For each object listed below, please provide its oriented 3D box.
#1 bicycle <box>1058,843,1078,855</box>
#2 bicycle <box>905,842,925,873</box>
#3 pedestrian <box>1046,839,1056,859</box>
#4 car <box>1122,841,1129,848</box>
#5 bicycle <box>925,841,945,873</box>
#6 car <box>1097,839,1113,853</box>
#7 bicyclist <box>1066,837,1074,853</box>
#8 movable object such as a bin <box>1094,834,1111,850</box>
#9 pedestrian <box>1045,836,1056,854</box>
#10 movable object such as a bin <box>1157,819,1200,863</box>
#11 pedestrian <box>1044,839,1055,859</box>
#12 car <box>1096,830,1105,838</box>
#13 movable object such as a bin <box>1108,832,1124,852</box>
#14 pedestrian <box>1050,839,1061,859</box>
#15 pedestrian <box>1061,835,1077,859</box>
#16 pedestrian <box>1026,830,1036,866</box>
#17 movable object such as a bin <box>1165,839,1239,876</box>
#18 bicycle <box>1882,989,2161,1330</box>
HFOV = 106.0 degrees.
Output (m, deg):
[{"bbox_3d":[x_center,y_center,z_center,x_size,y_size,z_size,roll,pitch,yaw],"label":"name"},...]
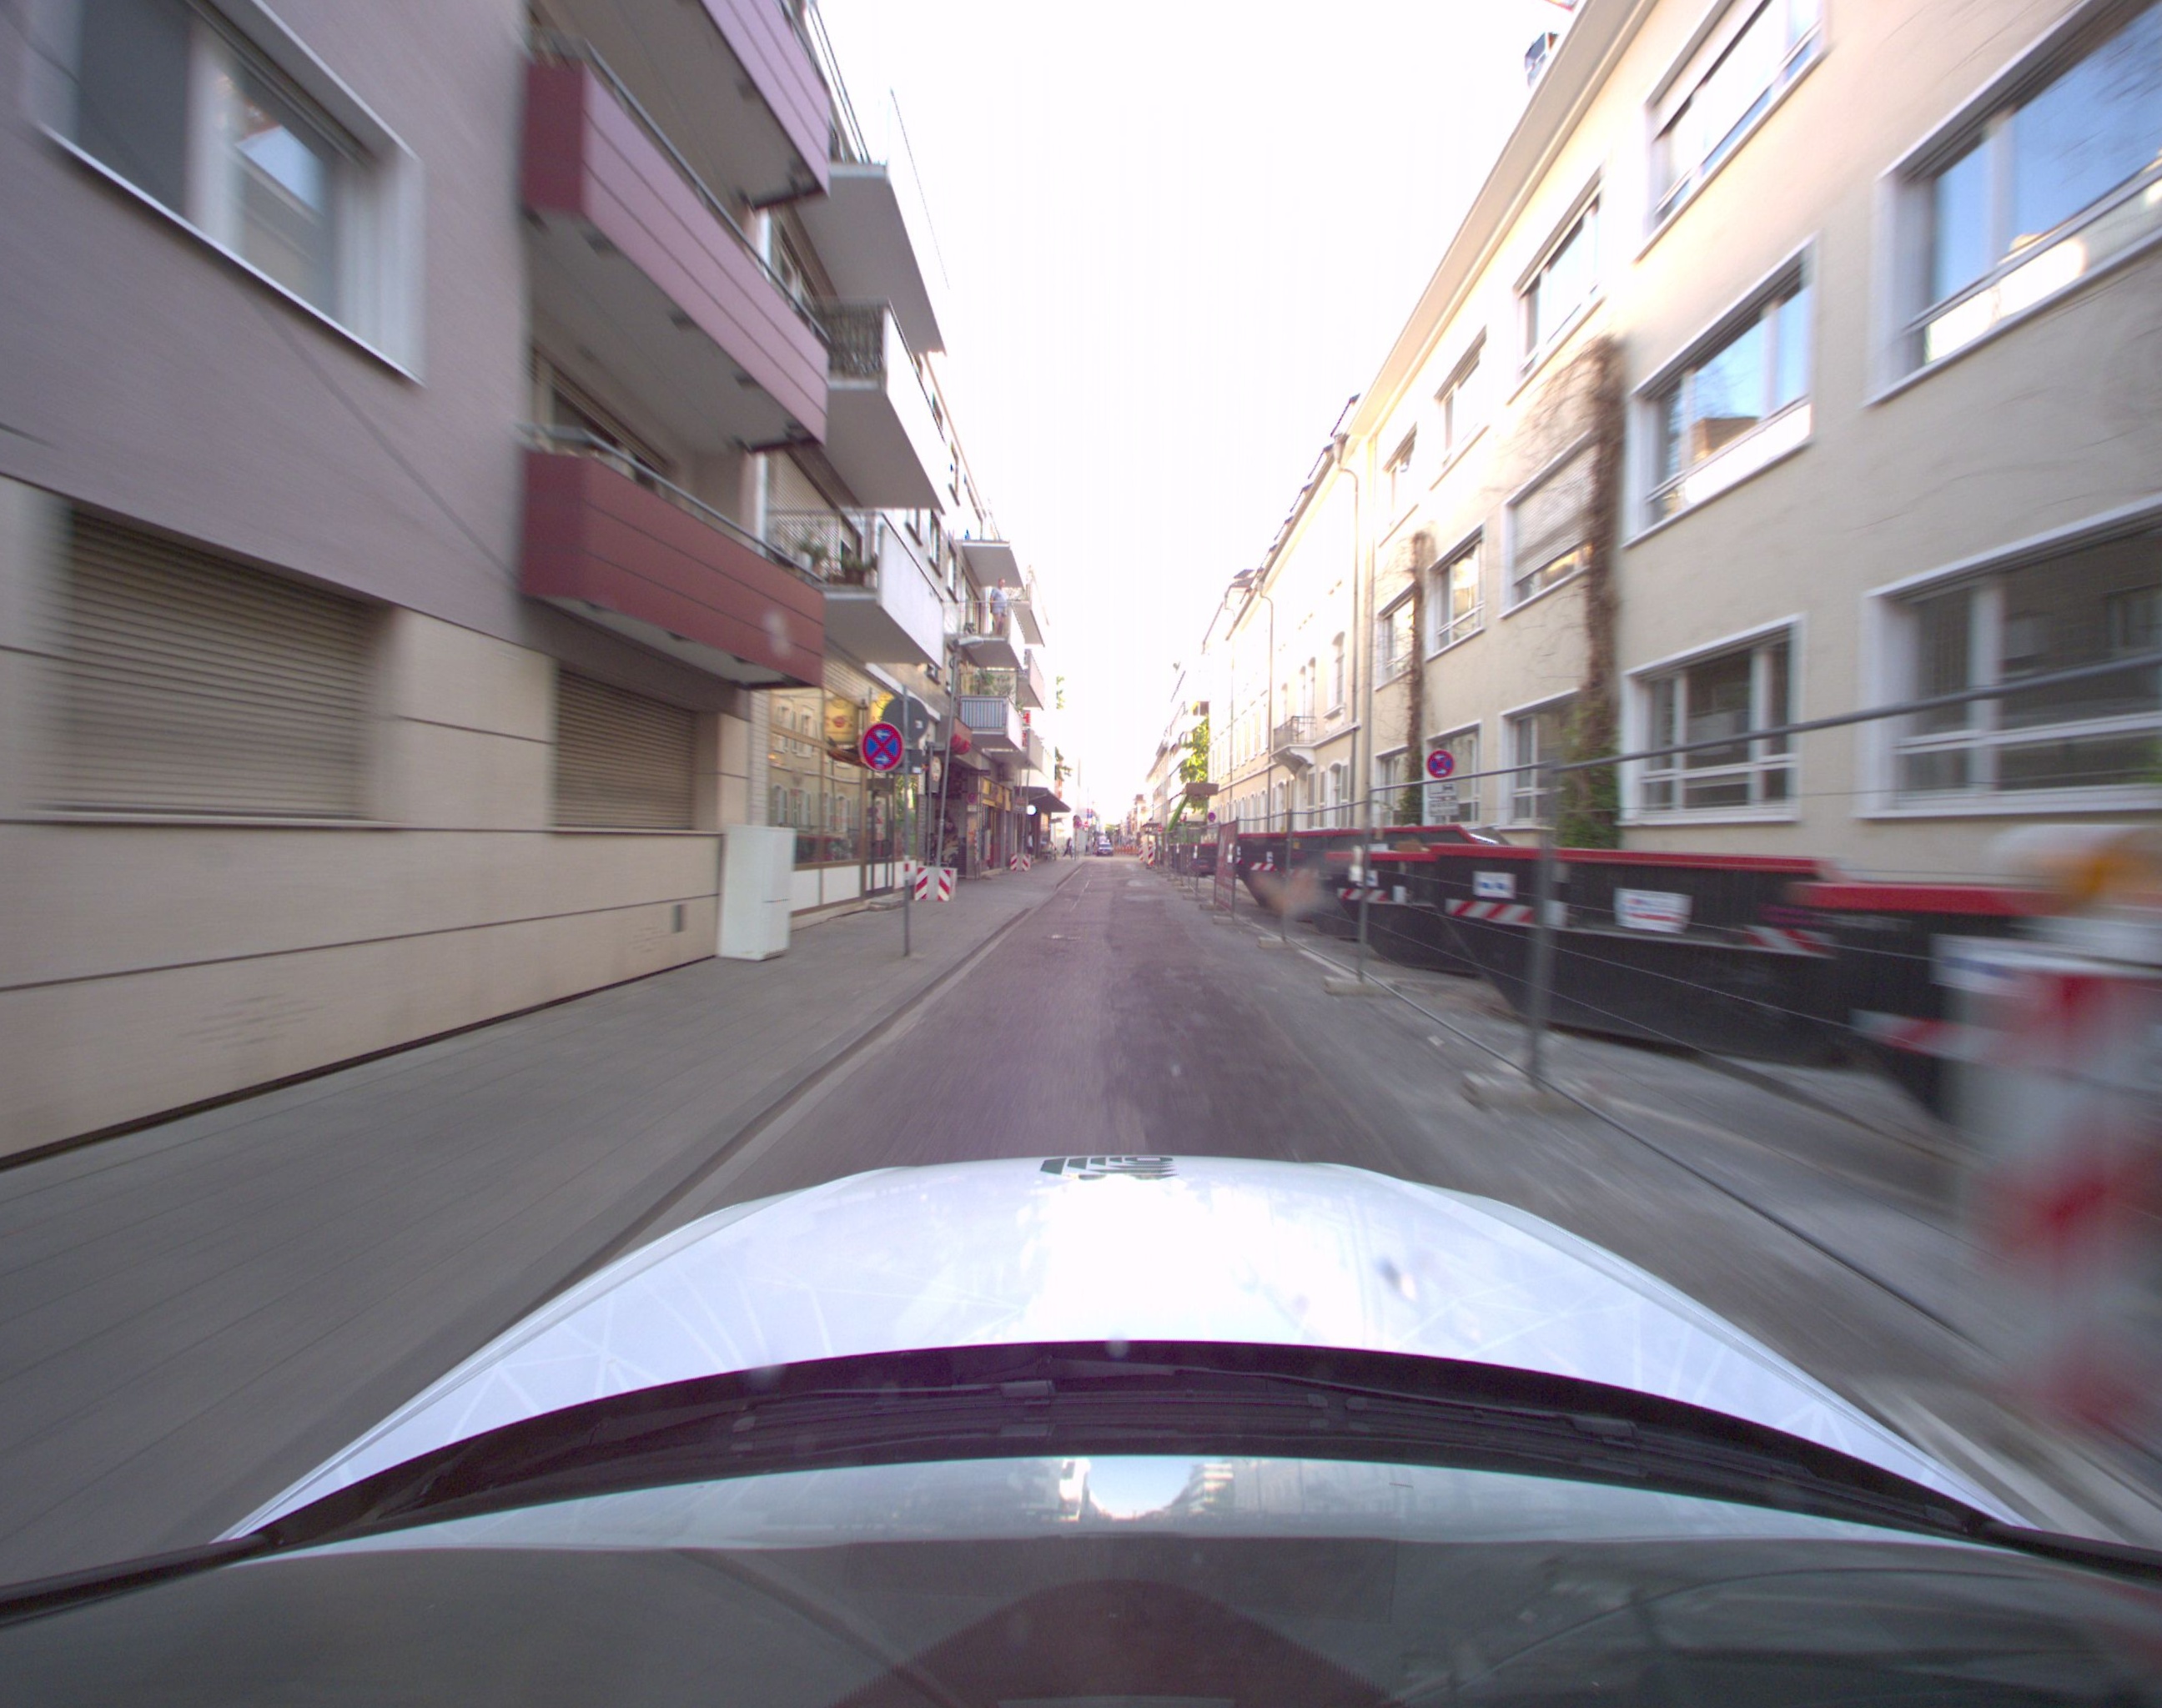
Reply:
[{"bbox_3d":[-1.190,-0.449,75.134,1.885,1.037,0.409,0,1,-1],"label":"bicycle"},{"bbox_3d":[-5.468,0.091,26.883,0.376,0.960,1.502,1,2,-1],"label":"bicycle"},{"bbox_3d":[-1.996,-0.336,54.169,0.571,1.275,0.714,3,1,2],"label":"pedestrian"},{"bbox_3d":[12.474,-2.729,228.514,1.986,1.776,4.003,0,1,2],"label":"car"},{"bbox_3d":[-4.795,0.090,26.785,0.376,0.960,1.502,1,2,-1],"label":"bicycle"},{"bbox_3d":[2.634,-0.866,89.224,1.625,1.550,3.141,0,1,-1],"label":"car"},{"bbox_3d":[-1.026,-0.813,75.110,0.722,1.441,0.506,0,1,-1],"label":"bicyclist"},{"bbox_3d":[2.791,-1.535,104.699,1.985,2.013,4.003,0,1,2],"label":"movable object such as a bin"},{"bbox_3d":[-2.213,-0.675,59.657,0.708,1.275,0.705,1,1,2],"label":"pedestrian"},{"bbox_3d":[6.557,-0.872,55.241,2.595,2.838,4.453,0,1,2],"label":"movable object such as a bin"},{"bbox_3d":[-2.050,-0.304,53.222,0.571,1.275,0.714,2,1,2],"label":"pedestrian"},{"bbox_3d":[4.356,-4.504,184.227,1.986,1.776,4.003,0,1,2],"label":"car"},{"bbox_3d":[4.912,-1.677,114.586,2.148,2.663,4.575,1,1,2],"label":"movable object such as a bin"},{"bbox_3d":[-1.736,-0.346,55.328,0.699,1.275,0.714,2,1,2],"label":"pedestrian"},{"bbox_3d":[-0.902,-0.532,62.119,1.075,1.835,0.694,0,1,-19],"label":"pedestrian"},{"bbox_3d":[-2.624,-0.321,42.775,0.529,1.834,0.562,0,1,-4],"label":"pedestrian"},{"bbox_3d":[5.928,0.085,41.067,2.726,1.638,7.555,1,1,1],"label":"movable object such as a bin"},{"bbox_3d":[3.729,1.037,2.493,0.462,0.908,1.785,0,2,-44],"label":"bicycle"}]
